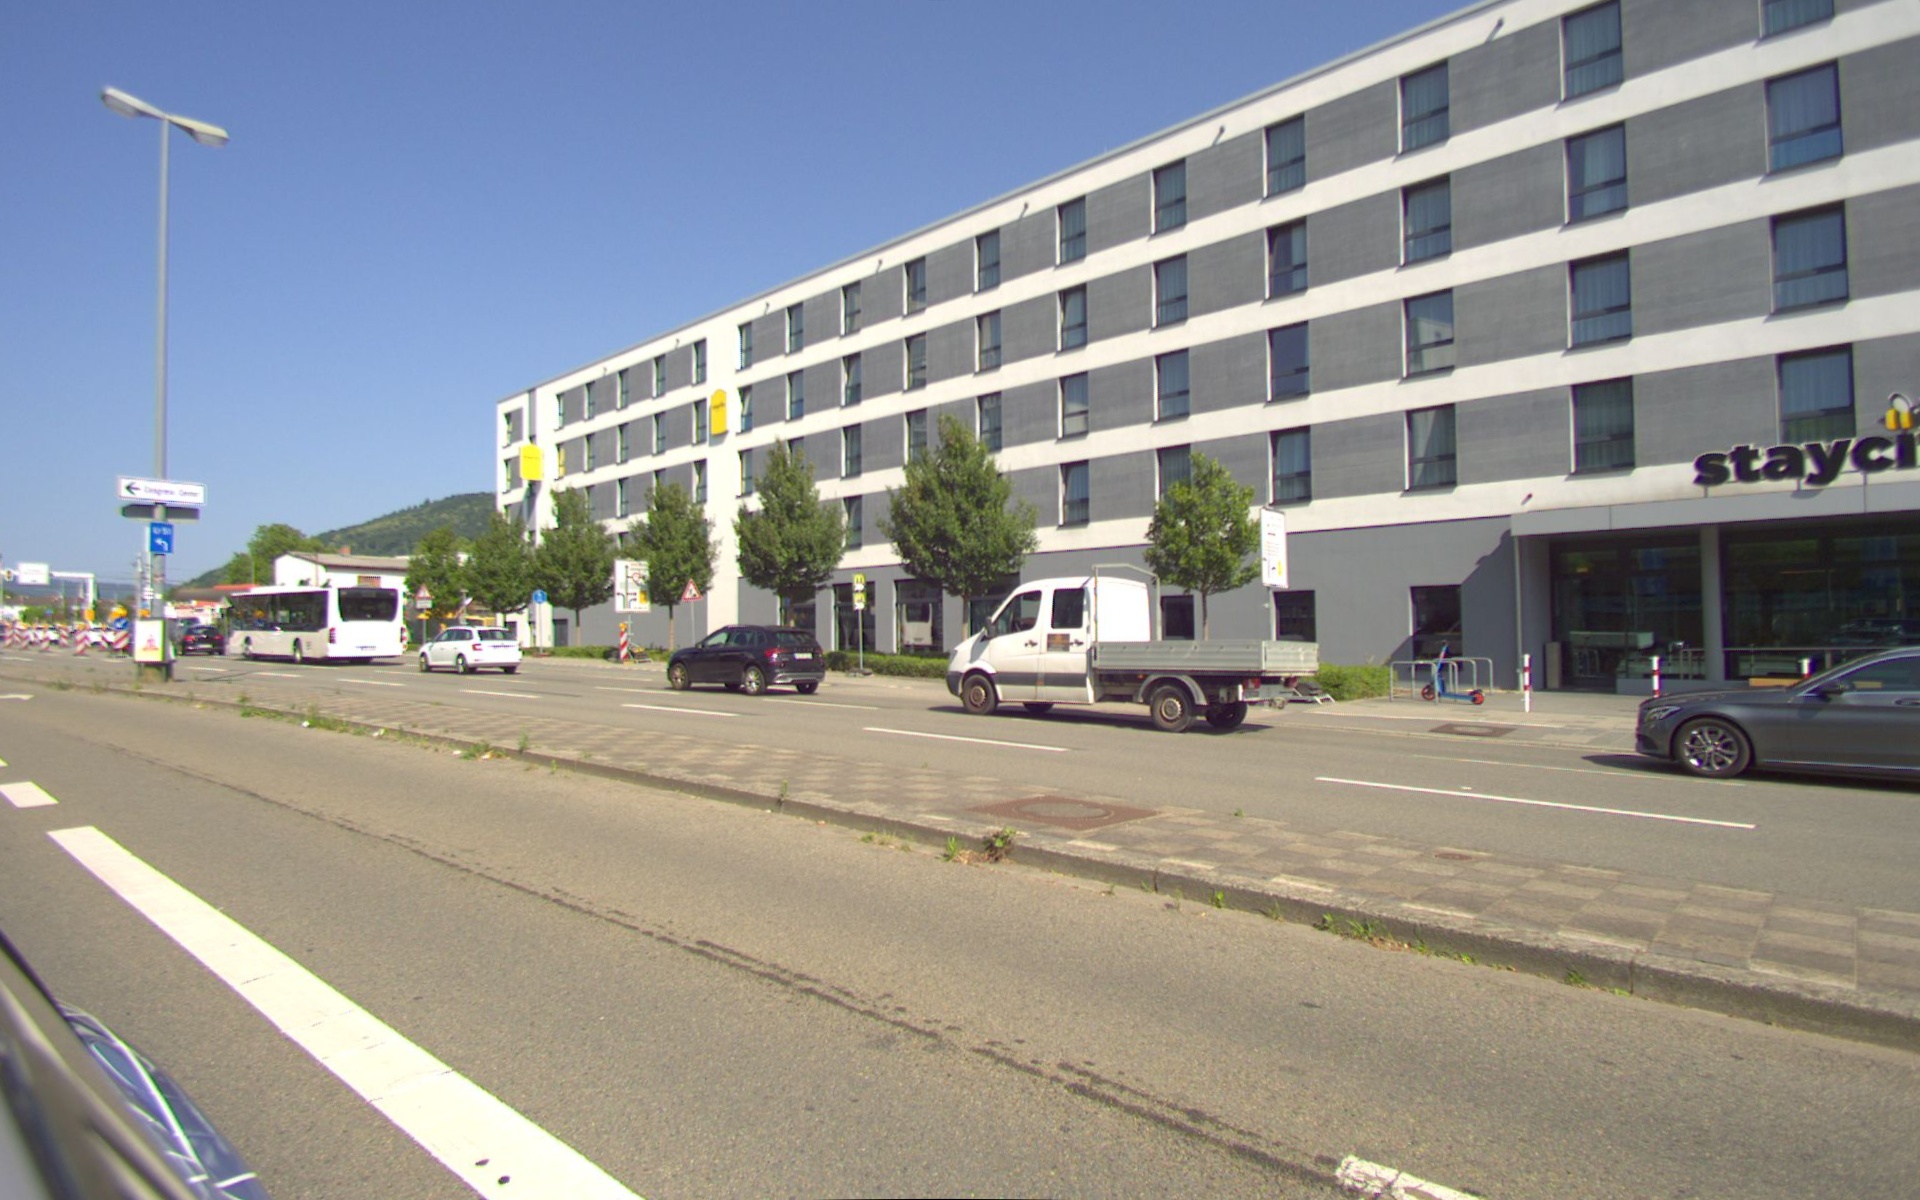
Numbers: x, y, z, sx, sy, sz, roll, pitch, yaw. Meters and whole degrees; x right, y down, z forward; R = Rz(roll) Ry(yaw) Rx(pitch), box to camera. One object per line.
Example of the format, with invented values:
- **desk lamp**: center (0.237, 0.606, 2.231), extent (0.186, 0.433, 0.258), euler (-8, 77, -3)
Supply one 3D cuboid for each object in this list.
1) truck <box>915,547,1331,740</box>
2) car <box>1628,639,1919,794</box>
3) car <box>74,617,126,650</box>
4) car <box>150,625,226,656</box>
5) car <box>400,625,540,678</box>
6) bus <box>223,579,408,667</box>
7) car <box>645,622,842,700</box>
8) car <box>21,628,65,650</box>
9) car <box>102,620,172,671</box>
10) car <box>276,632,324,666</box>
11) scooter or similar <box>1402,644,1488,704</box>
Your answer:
- **truck**: center (2.410, 0.674, 16.476), extent (6.434, 2.565, 2.332), euler (-1, -4, 41)
- **car**: center (9.666, 1.132, 10.275), extent (4.585, 1.438, 1.934), euler (-1, -3, 42)
- **car**: center (-56.075, 2.166, 65.982), extent (3.997, 2.029, 1.973), euler (-1, -2, 40)
- **car**: center (-37.765, 1.939, 49.472), extent (4.887, 1.443, 1.973), euler (-1, -2, 40)
- **car**: center (-15.256, 1.585, 31.446), extent (4.403, 1.497, 1.976), euler (0, -4, 36)
- **bus**: center (-25.944, 0.960, 40.346), extent (11.966, 3.102, 2.710), euler (-1, -4, 40)
- **car**: center (-4.995, 1.343, 23.149), extent (4.404, 1.590, 1.975), euler (-1, -3, 37)
- **car**: center (-69.500, 2.915, 76.691), extent (3.584, 1.631, 1.699), euler (-1, -1, 36)
- **car**: center (-35.570, 1.933, 43.705), extent (4.162, 2.029, 1.658), euler (0, 0, 41)
- **car**: center (-25.504, 1.868, 39.085), extent (2.219, 1.216, 1.044), euler (0, 0, 42)
- **scooter or similar**: center (9.663, 1.463, 20.208), extent (1.518, 1.121, 0.347), euler (0, -1, 44)
